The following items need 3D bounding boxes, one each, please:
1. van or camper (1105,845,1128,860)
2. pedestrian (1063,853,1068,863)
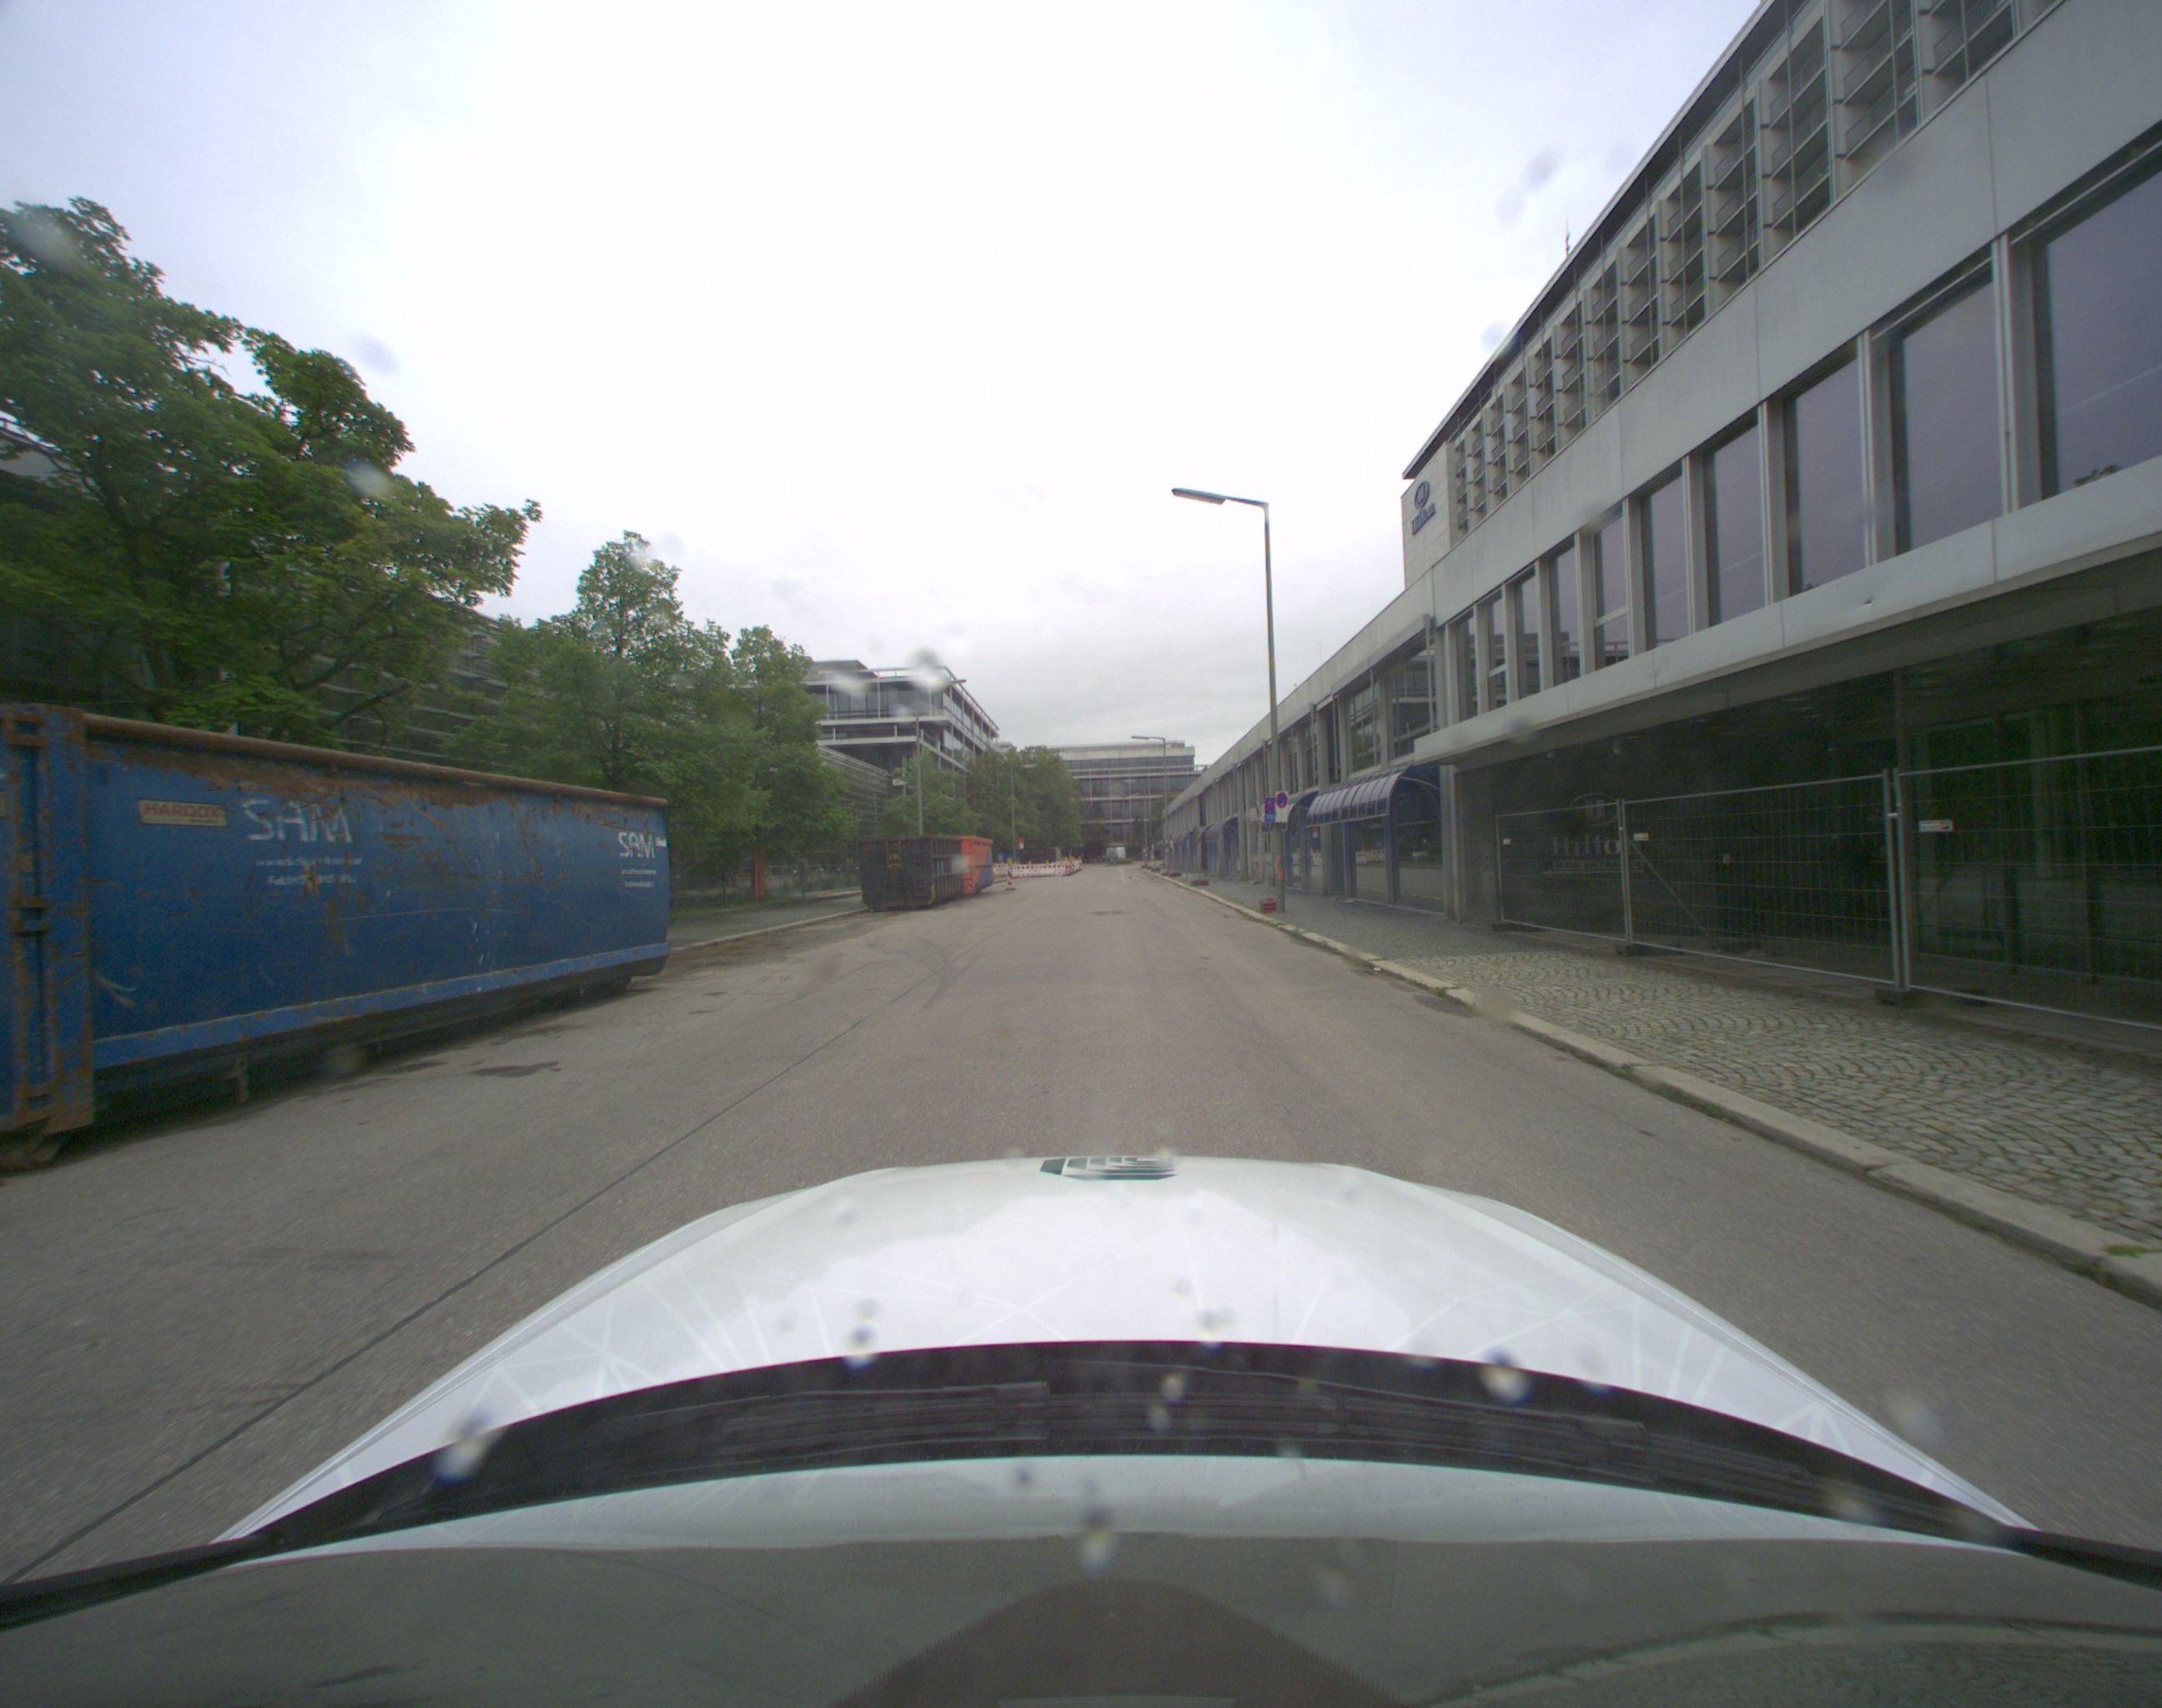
[{"bbox_3d":[6.453,-0.245,147.659,2.095,2.492,5.027,-2,0,-23],"label":"van or camper"},{"bbox_3d":[-2.843,0.691,146.618,0.743,1.677,0.678,-2,0,-18],"label":"pedestrian"}]
